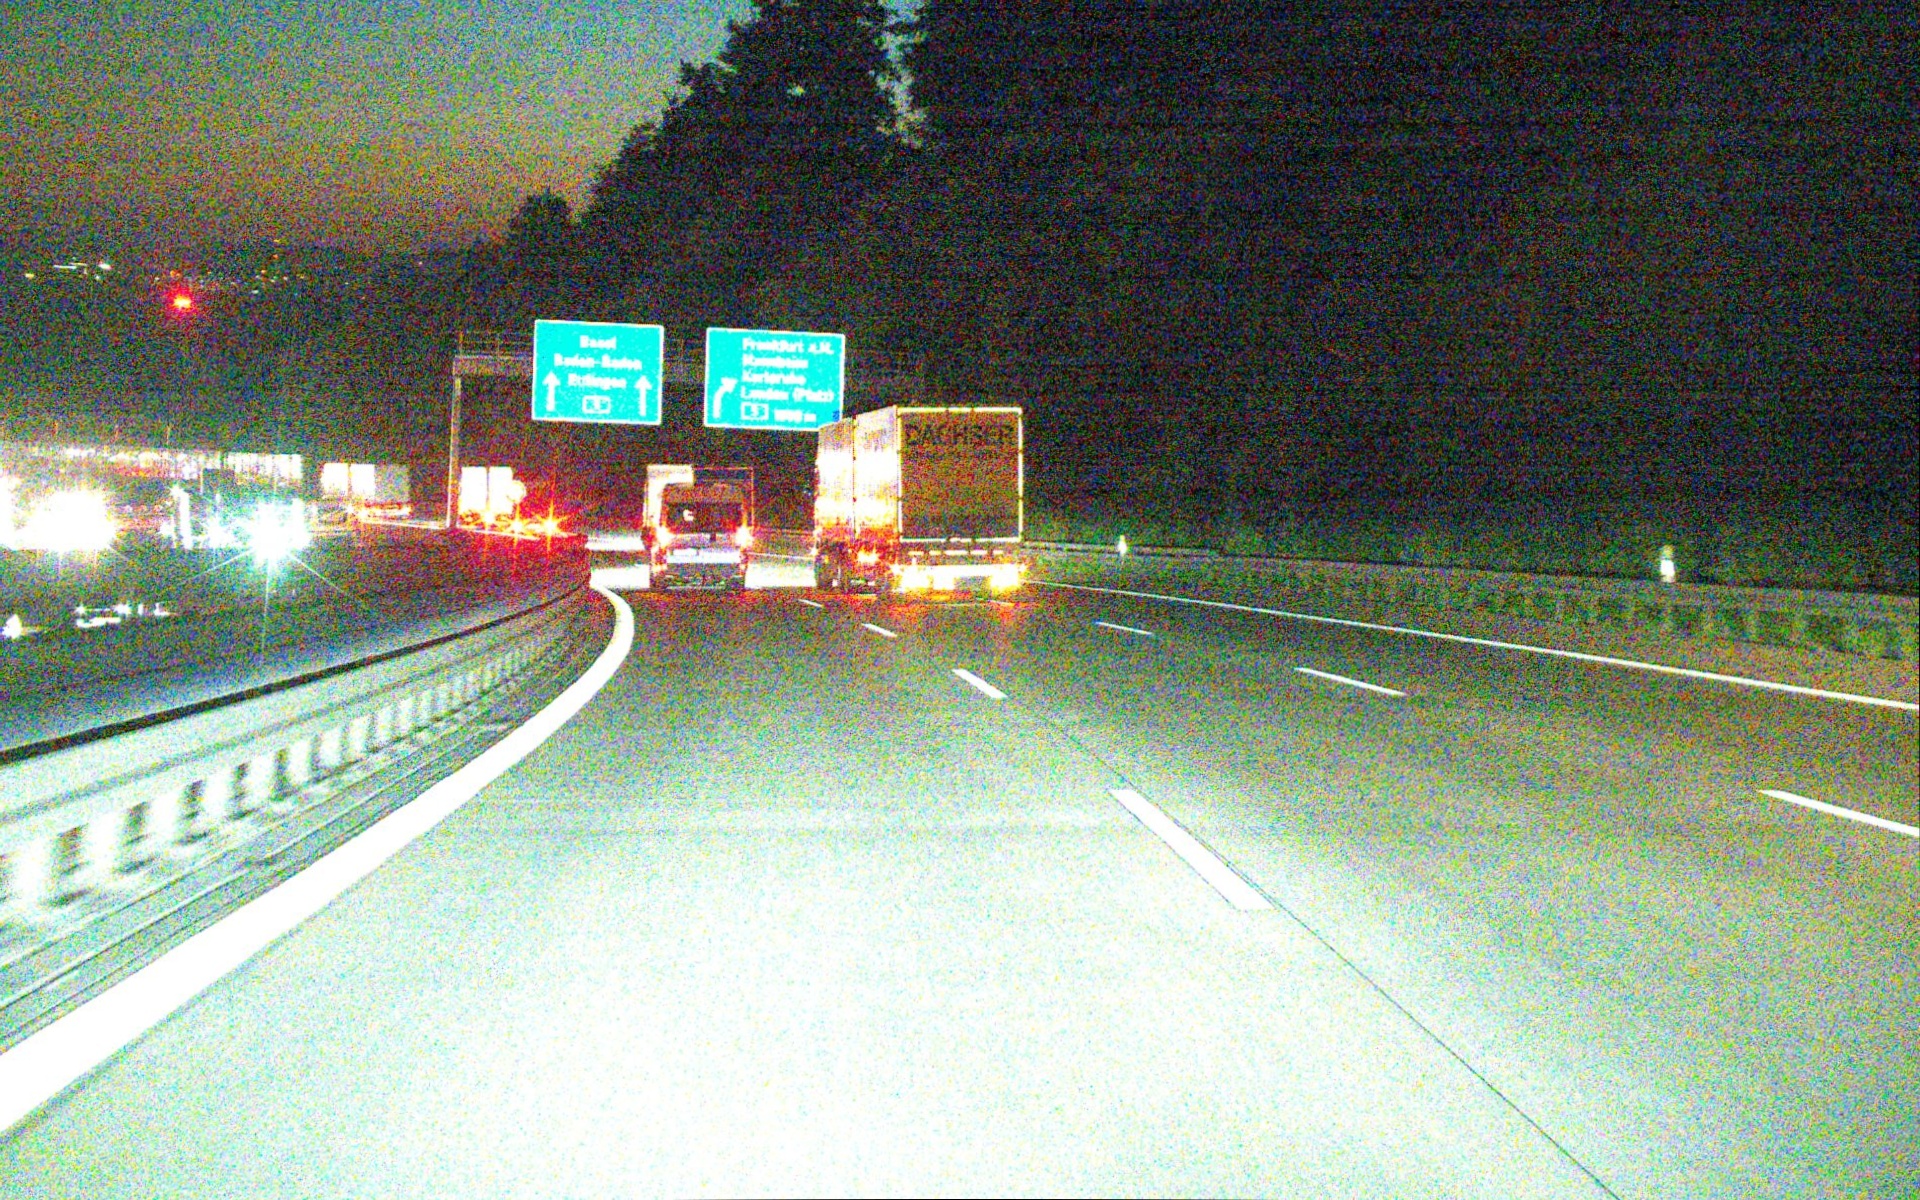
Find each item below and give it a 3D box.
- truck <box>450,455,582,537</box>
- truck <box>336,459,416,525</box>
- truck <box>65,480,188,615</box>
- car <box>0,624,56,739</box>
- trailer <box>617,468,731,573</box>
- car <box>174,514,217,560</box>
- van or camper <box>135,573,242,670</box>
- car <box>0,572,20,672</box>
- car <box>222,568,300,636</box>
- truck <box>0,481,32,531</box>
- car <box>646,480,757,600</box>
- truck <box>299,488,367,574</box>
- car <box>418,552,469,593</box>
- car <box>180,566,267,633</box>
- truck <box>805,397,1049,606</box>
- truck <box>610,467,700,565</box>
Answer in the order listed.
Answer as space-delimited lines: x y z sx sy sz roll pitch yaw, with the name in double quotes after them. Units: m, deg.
-27.435 -6.490 210.934 3.914 4.611 21.027 -2 3 -18 "truck"
-42.566 -7.930 250.040 3.343 4.460 13.915 2 2 -19 "truck"
-27.434 -1.770 113.368 3.417 4.208 6.285 -2 2 -10 "truck"
-16.190 1.317 55.940 2.139 1.617 5.114 -1 2 -7 "car"
-12.415 -3.528 148.075 2.853 4.053 13.211 -1 4 -14 "trailer"
-40.770 -3.370 183.222 1.833 2.362 5.449 -2 2 -16 "car"
-17.551 0.450 78.422 1.993 2.006 5.223 -2 2 -9 "van or camper"
-21.090 0.511 71.375 2.139 2.047 5.114 -1 2 -5 "car"
-16.417 0.027 80.838 1.600 1.437 4.001 -2 2 -9 "car"
-64.695 -6.415 234.158 2.375 3.248 7.726 -3 3 -17 "truck"
-6.048 -1.403 79.861 2.337 2.631 5.249 2 1 -6 "car"
-27.208 -2.999 149.347 2.654 3.578 8.552 0 1 -9 "truck"
-19.457 -1.029 129.383 1.600 1.437 4.001 -2 2 -13 "car"
-17.364 -0.030 80.924 1.605 1.474 4.075 -2 1 -17 "car"
-1.067 -2.133 77.449 3.481 4.120 18.714 0 1 -7 "truck"
-13.603 -3.795 152.903 2.861 4.062 7.514 -1 3 -14 "truck"
